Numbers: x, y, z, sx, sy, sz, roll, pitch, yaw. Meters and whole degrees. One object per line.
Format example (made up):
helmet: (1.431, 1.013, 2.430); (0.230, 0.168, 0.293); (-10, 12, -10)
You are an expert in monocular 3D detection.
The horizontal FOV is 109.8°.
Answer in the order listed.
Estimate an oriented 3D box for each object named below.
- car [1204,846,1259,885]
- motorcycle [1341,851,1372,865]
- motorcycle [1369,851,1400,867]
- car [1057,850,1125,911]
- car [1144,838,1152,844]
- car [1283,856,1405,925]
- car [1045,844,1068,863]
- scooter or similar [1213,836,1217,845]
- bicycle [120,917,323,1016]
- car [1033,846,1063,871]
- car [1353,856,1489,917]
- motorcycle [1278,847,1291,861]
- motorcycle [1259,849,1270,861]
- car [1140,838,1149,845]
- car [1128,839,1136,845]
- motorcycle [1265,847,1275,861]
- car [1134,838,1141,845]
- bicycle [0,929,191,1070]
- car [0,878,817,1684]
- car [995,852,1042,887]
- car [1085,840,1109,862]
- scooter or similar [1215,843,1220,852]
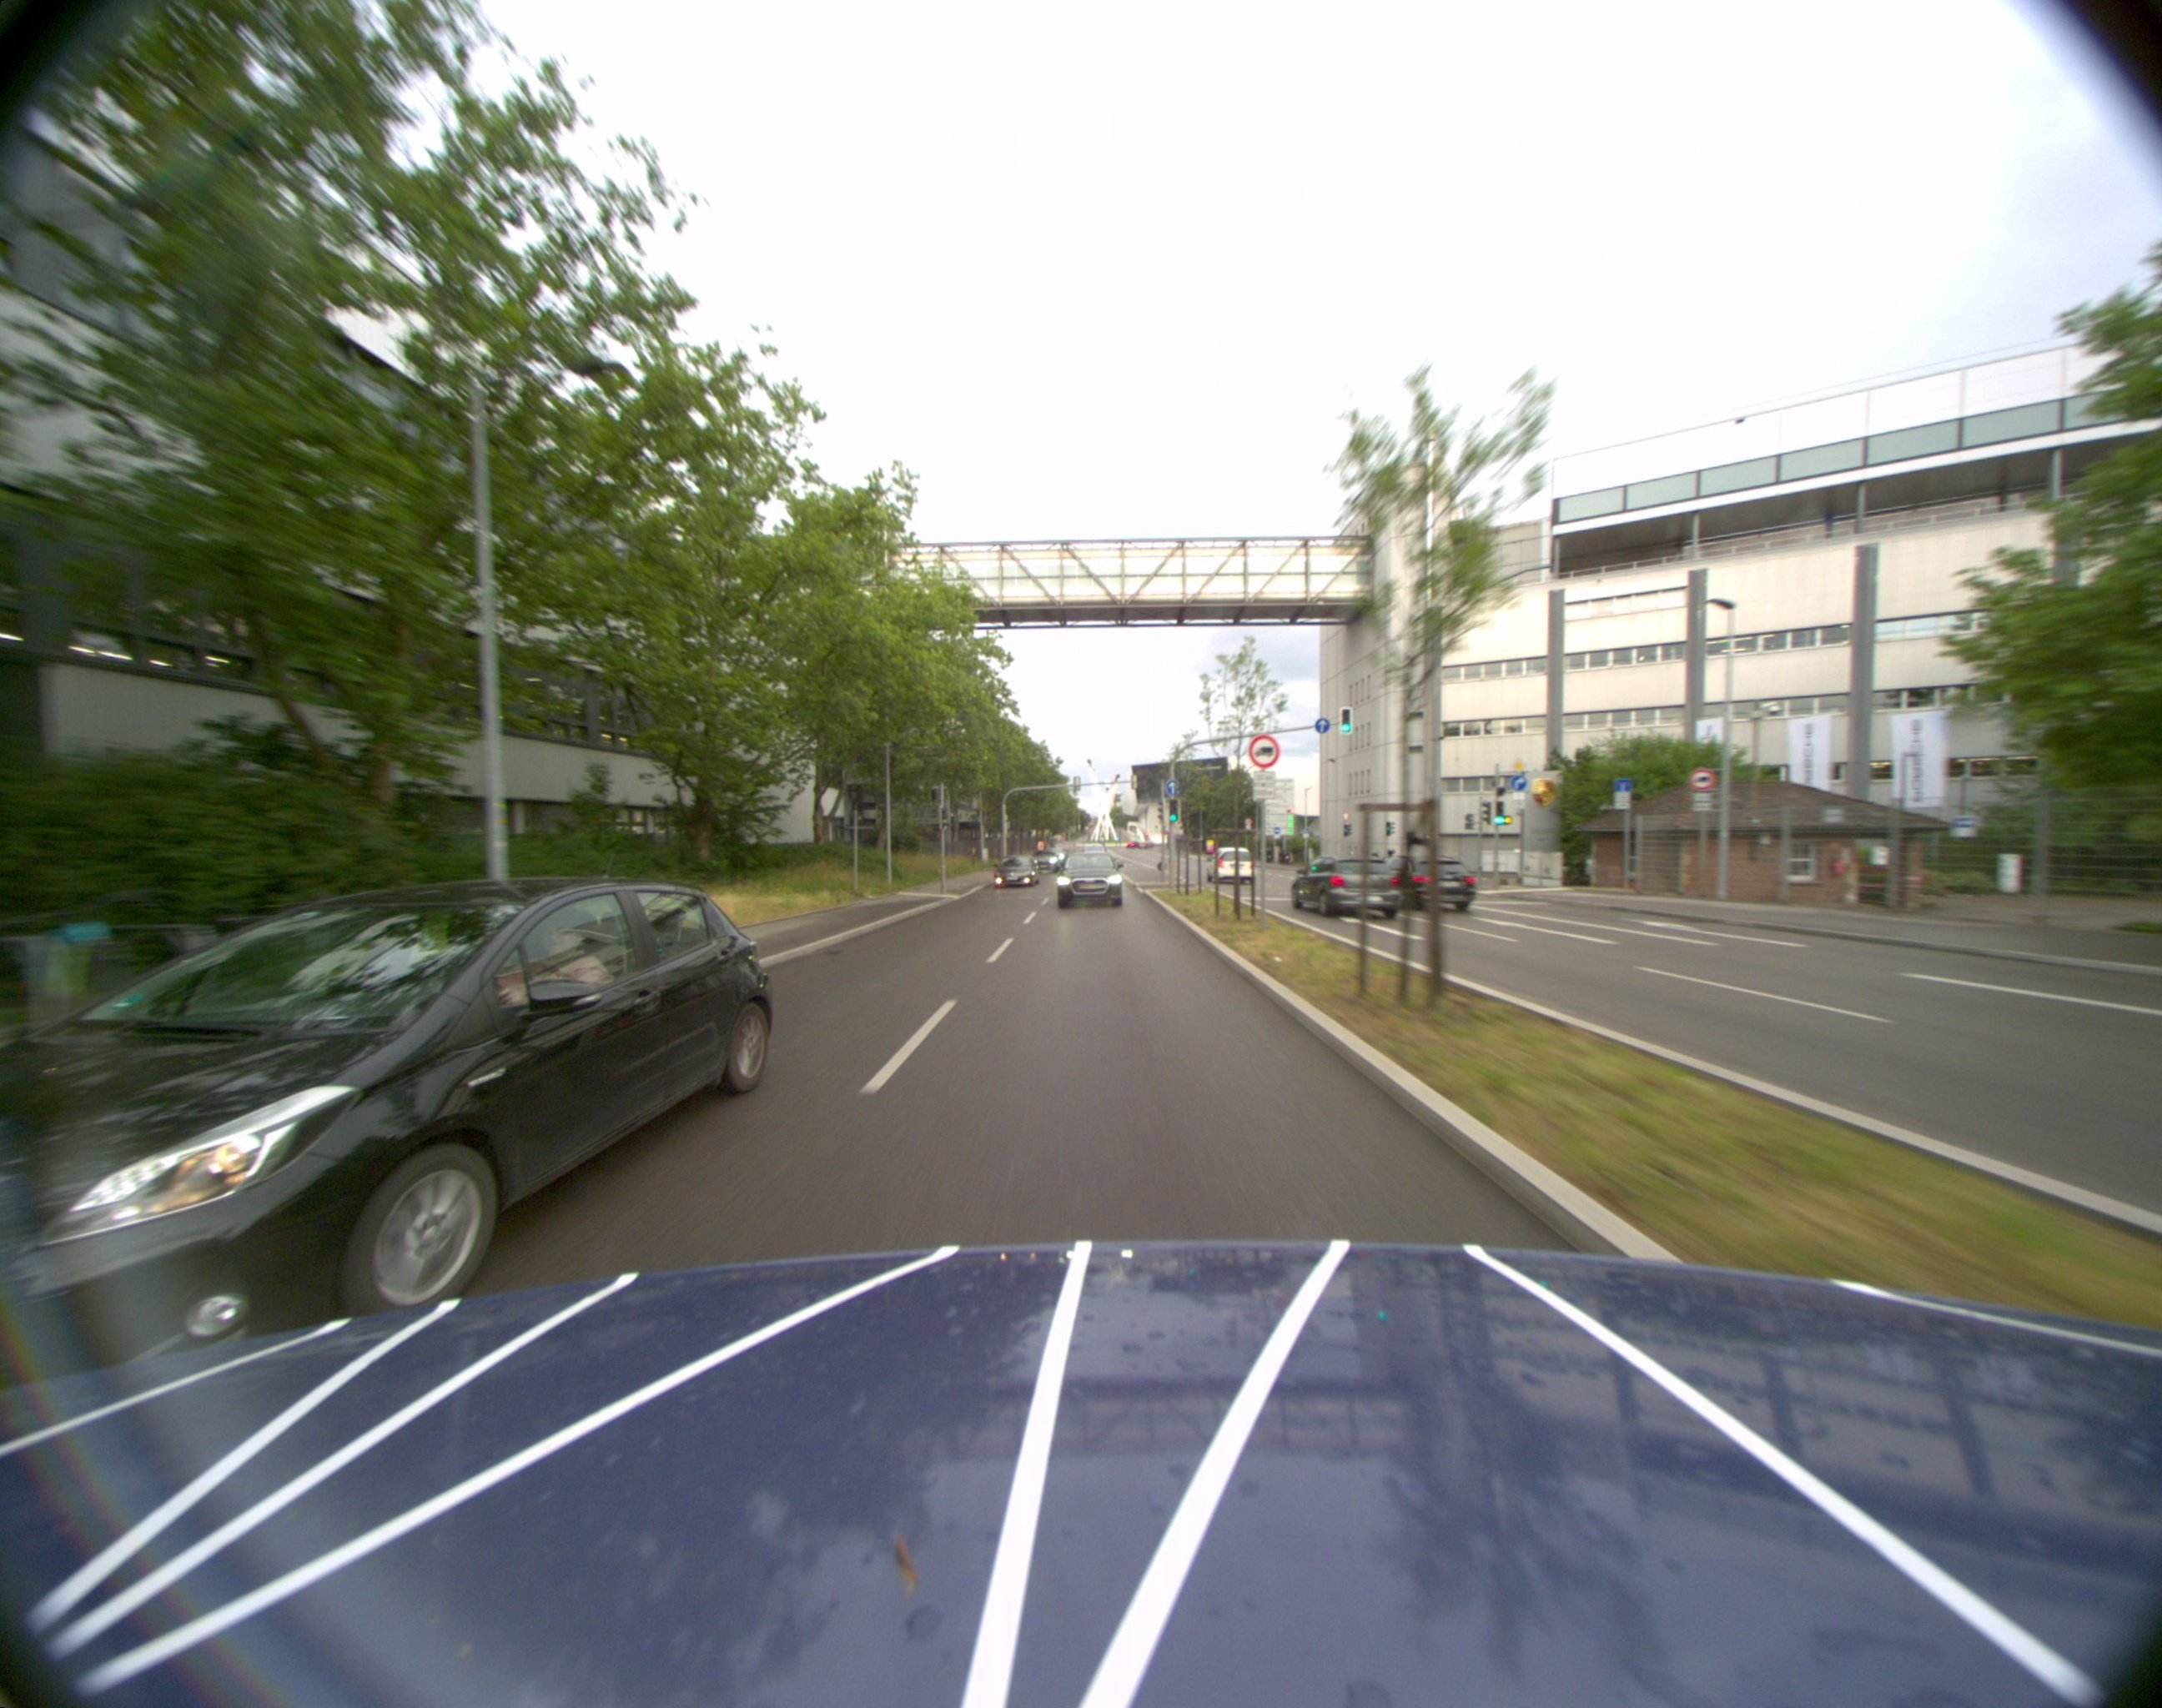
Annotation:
car: (6.819, 0.469, 34.862); (1.776, 1.580, 4.485); (1, 1, 2)
motorcycle: (20.128, 0.279, 55.587); (0.628, 1.021, 2.165); (-1, 2, -34)
motorcycle: (21.398, 0.353, 53.621); (0.627, 1.021, 2.165); (0, 2, -26)
car: (0.299, 0.706, 23.352); (1.820, 1.536, 5.607); (-1, 1, 1)
car: (17.000, -3.338, 191.569); (1.776, 1.580, 4.485); (1, 1, 2)
car: (6.199, 0.781, 18.395); (1.581, 1.396, 4.111); (0, 1, 1)
car: (-2.128, -0.074, 66.422); (1.820, 1.571, 4.331); (-1, 1, 1)
scooter or similar: (17.908, -1.820, 101.495); (0.394, 1.123, 1.568); (1, 1, 2)
bicycle: (-8.682, 1.127, 7.700); (1.611, 0.934, 0.387); (0, 1, 0)
car: (-2.267, 0.274, 52.616); (1.825, 1.581, 4.331); (-1, 1, 1)
car: (9.294, 0.819, 21.247); (1.777, 1.396, 4.614); (0, 1, 1)
motorcycle: (17.830, 0.007, 66.628); (0.569, 1.156, 2.038); (0, 1, -1)
motorcycle: (17.983, 0.082, 74.629); (0.626, 1.208, 1.967); (1, 1, 2)
car: (15.456, -3.005, 184.417); (2.036, 1.580, 4.485); (1, 1, 2)
car: (12.434, -2.948, 185.985); (1.776, 1.580, 4.485); (1, 1, 2)
motorcycle: (17.896, 0.021, 71.825); (0.626, 1.260, 2.171); (-1, 1, 7)
car: (14.359, -3.149, 192.771); (1.776, 1.580, 4.485); (1, 1, 2)
bicycle: (-7.914, 1.110, 5.888); (1.555, 0.999, 0.393); (0, 1, 0)
car: (-3.082, 1.000, 3.913); (1.749, 1.461, 4.639); (-1, 1, 1)
car: (-2.839, 0.675, 35.561); (1.749, 1.422, 4.516); (-1, 1, 1)
car: (1.406, -0.316, 68.560); (2.035, 1.920, 4.331); (-1, 1, 1)
scooter or similar: (17.892, -0.835, 99.894); (0.394, 1.123, 1.568); (1, 1, 2)
